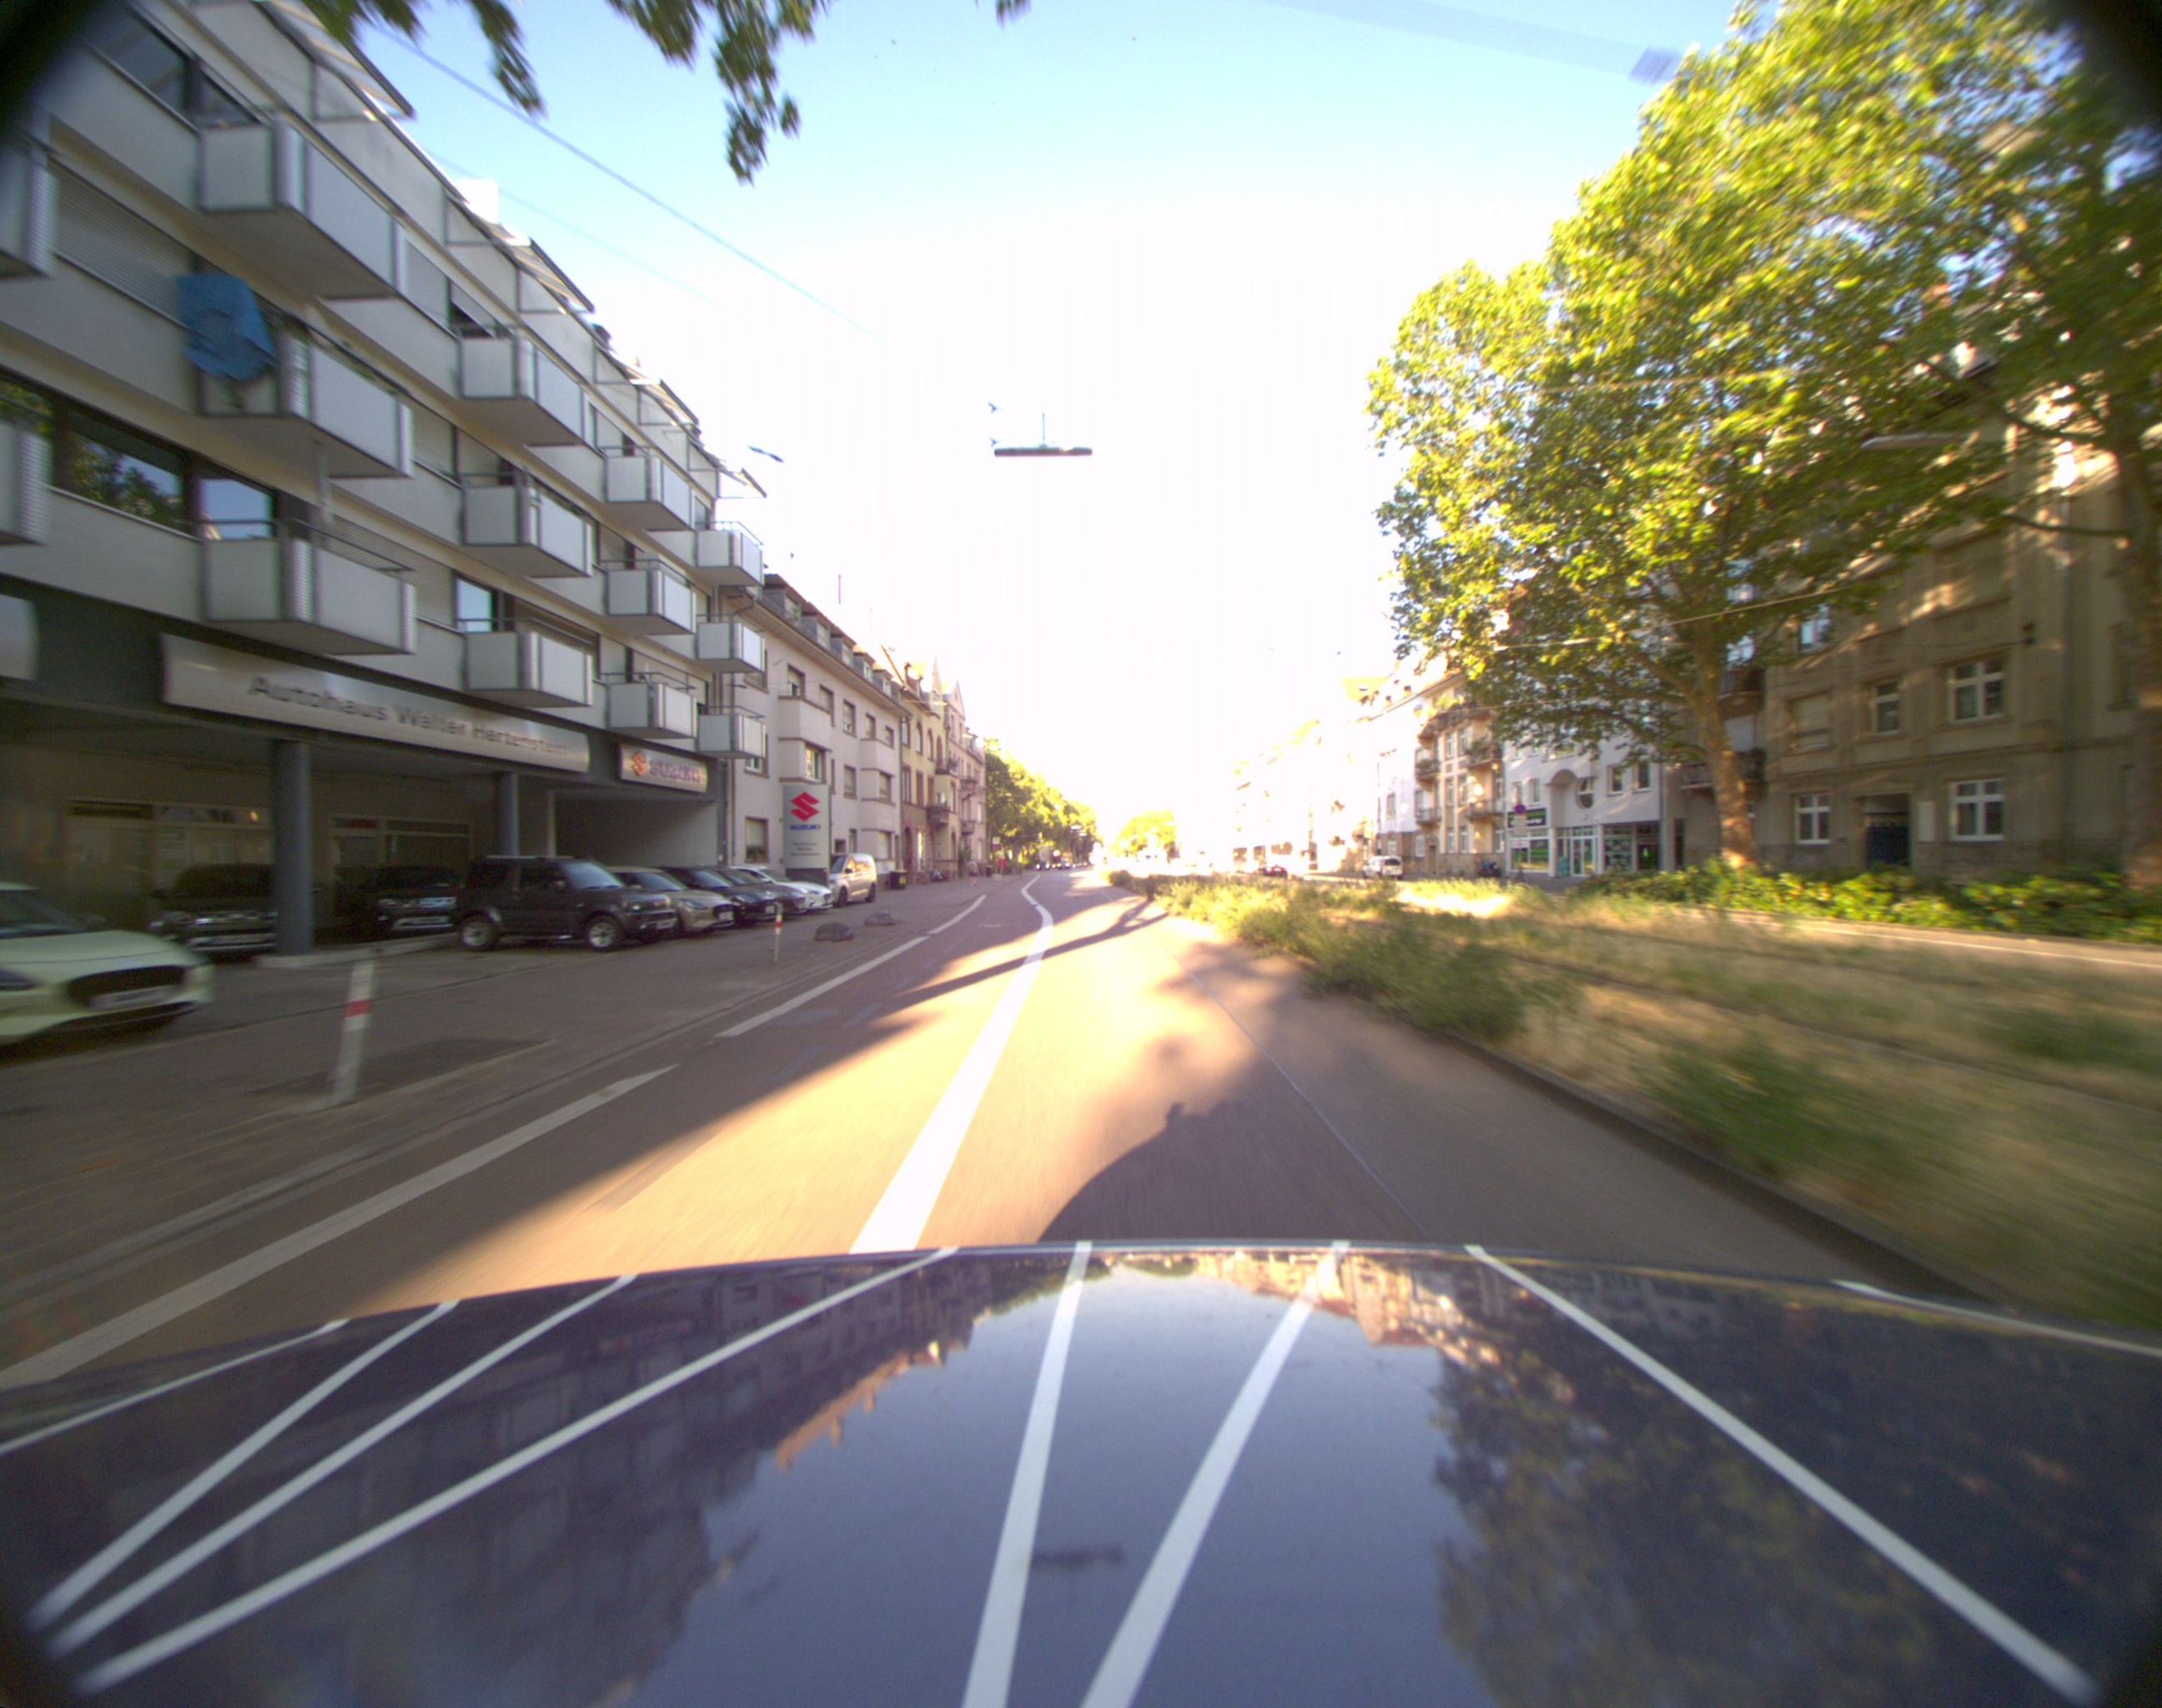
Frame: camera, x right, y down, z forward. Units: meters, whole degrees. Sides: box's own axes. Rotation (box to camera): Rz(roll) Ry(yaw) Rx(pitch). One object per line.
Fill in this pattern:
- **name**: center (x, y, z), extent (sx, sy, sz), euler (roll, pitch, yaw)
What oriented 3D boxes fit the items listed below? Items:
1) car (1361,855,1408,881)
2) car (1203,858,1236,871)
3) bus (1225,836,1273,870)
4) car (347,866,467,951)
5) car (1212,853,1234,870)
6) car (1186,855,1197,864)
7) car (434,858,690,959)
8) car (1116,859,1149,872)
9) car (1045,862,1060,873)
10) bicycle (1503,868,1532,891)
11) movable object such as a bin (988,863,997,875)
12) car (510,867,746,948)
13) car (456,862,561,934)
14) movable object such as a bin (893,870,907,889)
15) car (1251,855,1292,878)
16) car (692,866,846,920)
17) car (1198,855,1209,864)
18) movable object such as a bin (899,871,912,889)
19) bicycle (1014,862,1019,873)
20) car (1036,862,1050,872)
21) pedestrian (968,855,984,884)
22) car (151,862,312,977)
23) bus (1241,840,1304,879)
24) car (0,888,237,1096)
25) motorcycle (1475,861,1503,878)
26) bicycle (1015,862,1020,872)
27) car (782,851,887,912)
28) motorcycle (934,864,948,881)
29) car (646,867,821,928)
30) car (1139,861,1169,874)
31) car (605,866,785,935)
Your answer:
- **car**: center (22.787, 1.006, 57.243), extent (1.908, 1.776, 4.653), euler (-1, 1, 3)
- **car**: center (17.777, 1.331, 97.390), extent (4.051, 1.517, 1.782), euler (-1, 1, 7)
- **bus**: center (18.212, -0.171, 83.049), extent (3.273, 3.355, 9.898), euler (-1, 1, 1)
- **car**: center (-14.193, 1.047, 15.945), extent (3.516, 1.554, 1.613), euler (-1, 0, 44)
- **car**: center (15.142, 0.768, 81.148), extent (1.934, 1.674, 4.001), euler (-1, 1, 4)
- **car**: center (24.321, 1.157, 167.747), extent (1.919, 1.888, 4.310), euler (-1, 1, 3)
- **car**: center (-9.408, 0.971, 13.964), extent (3.589, 1.709, 1.682), euler (-1, -1, 3)
- **car**: center (6.690, 1.430, 97.719), extent (4.124, 1.565, 1.717), euler (-1, 1, 6)
- **car**: center (-4.678, 2.153, 123.445), extent (1.877, 1.586, 4.002), euler (-1, 0, 5)
- **bicycle**: center (22.560, 1.327, 39.304), extent (0.758, 1.027, 1.897), euler (-6, -1, 15)
- **movable object such as a bin**: center (-8.439, 1.429, 72.226), extent (0.657, 1.040, 0.659), euler (0, 1, 14)
- **car**: center (-9.407, 1.071, 16.012), extent (3.828, 1.531, 1.859), euler (-1, 0, 0)
- **car**: center (-13.775, 0.981, 18.234), extent (3.339, 1.554, 1.508), euler (-1, 0, 44)
- **movable object such as a bin**: center (-9.712, 1.375, 40.699), extent (0.555, 0.964, 0.585), euler (-1, 1, 3)
- **car**: center (13.278, 0.850, 53.152), extent (1.720, 1.477, 4.699), euler (2, 0, 1)
- **car**: center (-9.323, 1.149, 22.924), extent (3.820, 1.492, 1.914), euler (-1, -1, 2)
- **car**: center (21.961, 0.998, 135.763), extent (1.734, 1.471, 3.818), euler (0, 0, 12)
- **movable object such as a bin**: center (-9.630, 1.416, 41.652), extent (0.555, 0.964, 0.585), euler (-1, 1, 3)
- **bicycle**: center (-6.645, 1.391, 78.042), extent (0.438, 1.092, 1.931), euler (-1, 0, -3)
- **car**: center (-6.310, 2.224, 126.953), extent (1.877, 1.586, 4.002), euler (-1, 0, 5)
- **pedestrian**: center (-6.819, 1.006, 49.308), extent (0.831, 1.802, 1.150), euler (-1, 1, 0)
- **car**: center (-14.207, 0.975, 12.865), extent (3.590, 1.647, 1.621), euler (-1, 0, 44)
- **bus**: center (17.877, 0.415, 72.028), extent (3.262, 3.355, 11.976), euler (-1, 1, 2)
- **car**: center (-10.009, 1.120, 6.609), extent (3.426, 1.510, 1.757), euler (-1, 1, 3)
- **motorcycle**: center (26.278, 0.989, 48.982), extent (0.529, 1.015, 2.420), euler (-3, 0, 0)
- **bicycle**: center (-6.761, 1.416, 81.116), extent (0.370, 1.062, 1.874), euler (-1, 0, 1)
- **car**: center (-8.797, 0.901, 27.670), extent (1.897, 1.937, 4.901), euler (-1, 1, 4)
- **motorcycle**: center (-10.064, 1.322, 54.722), extent (0.591, 1.130, 2.504), euler (-1, 1, -3)
- **car**: center (-9.277, 1.142, 20.535), extent (3.878, 1.505, 1.809), euler (-1, 0, -1)
- **car**: center (9.724, 1.772, 101.402), extent (3.996, 1.696, 1.836), euler (-1, 1, 2)
- **car**: center (-9.191, 1.084, 18.284), extent (3.426, 1.516, 1.741), euler (-1, 0, 3)
